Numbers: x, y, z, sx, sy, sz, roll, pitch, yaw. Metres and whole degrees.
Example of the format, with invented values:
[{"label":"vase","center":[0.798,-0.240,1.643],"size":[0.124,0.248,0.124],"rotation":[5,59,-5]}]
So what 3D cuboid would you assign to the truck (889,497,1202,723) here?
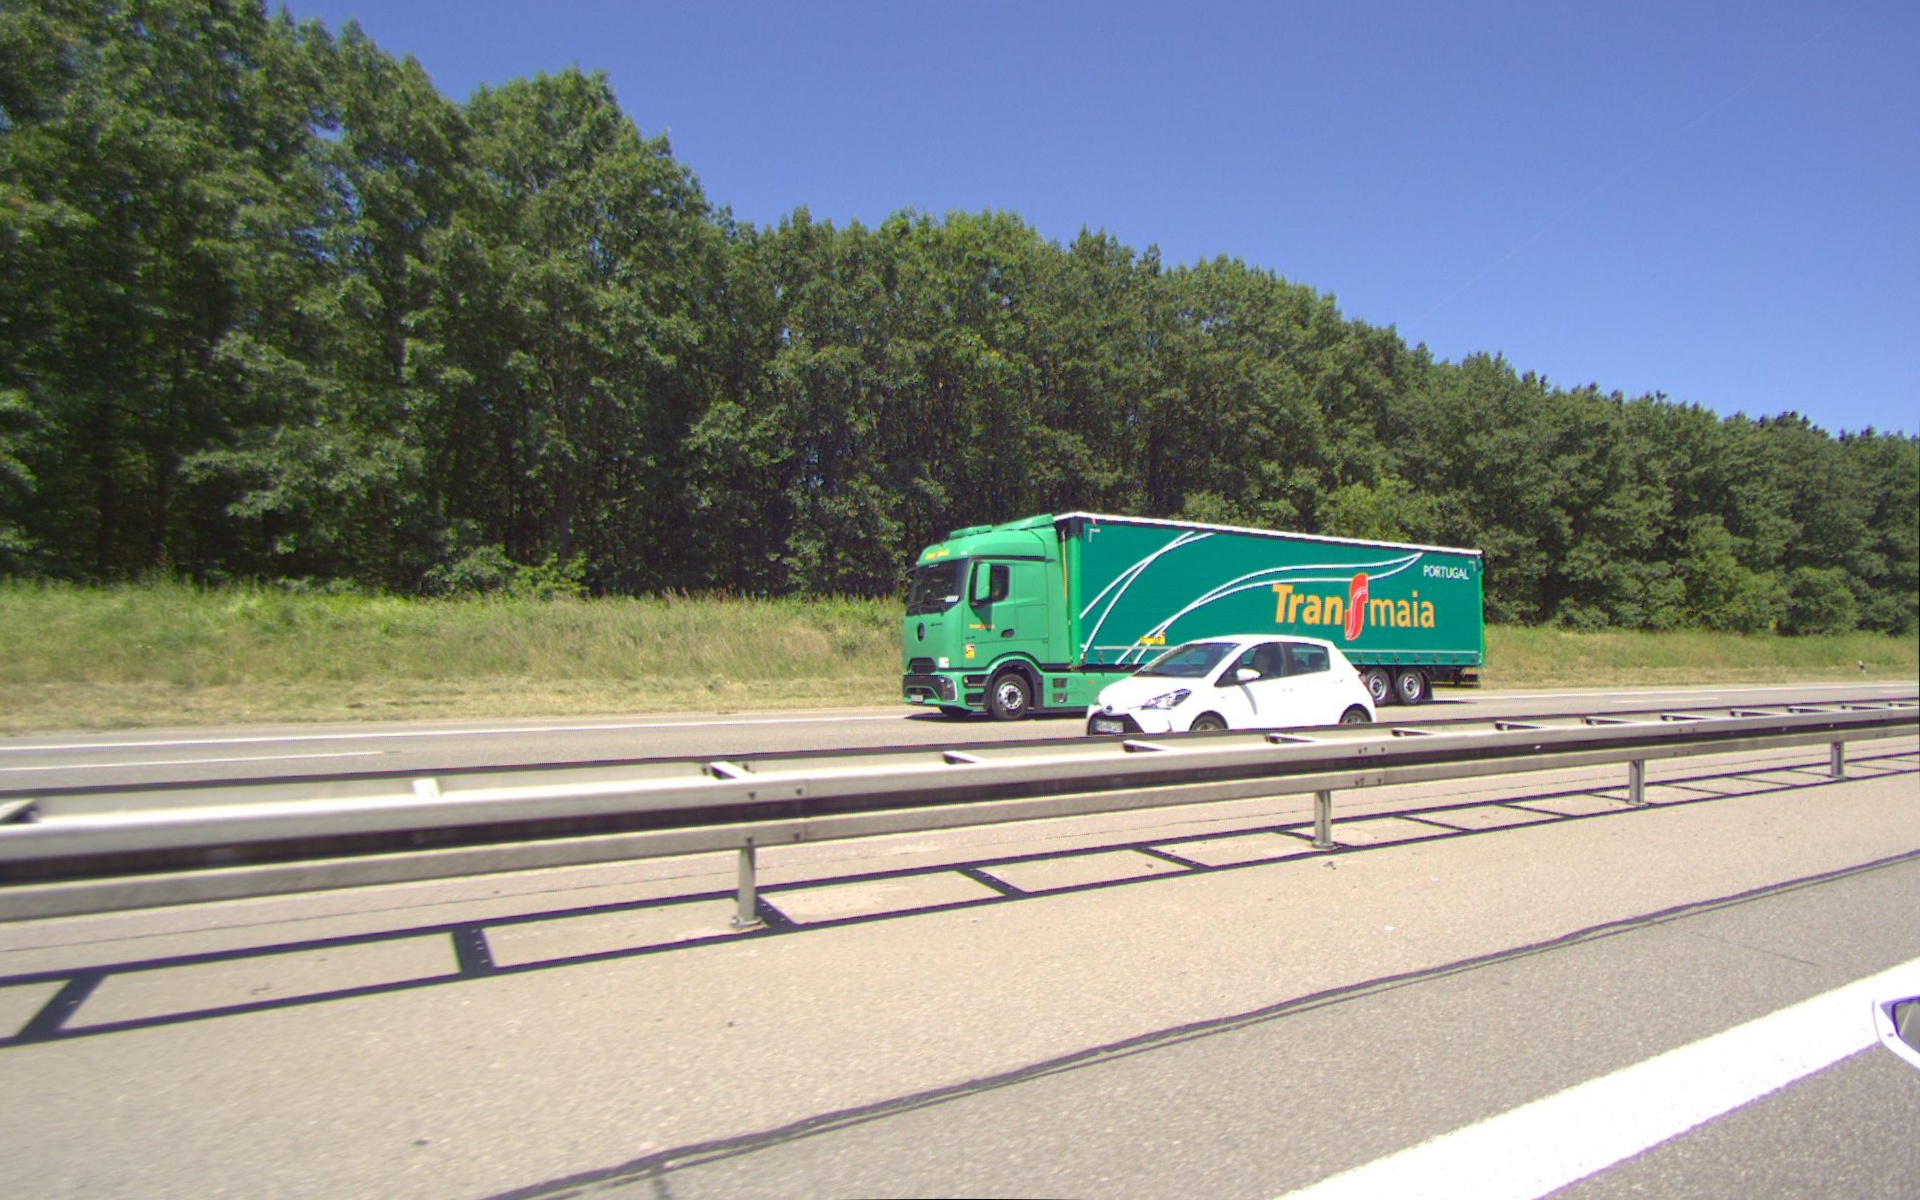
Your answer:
[{"label":"truck","center":[1.860,0.337,21.386],"size":[6.221,4.215,2.689],"rotation":[2,-4,-30]}]

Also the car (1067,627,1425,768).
[{"label":"car","center":[3.686,1.163,12.707],"size":[4.545,1.520,1.648],"rotation":[2,-4,-30]}]

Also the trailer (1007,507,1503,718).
[{"label":"trailer","center":[7.846,0.502,24.837],"size":[14.167,4.215,2.693],"rotation":[2,-4,-30]}]
